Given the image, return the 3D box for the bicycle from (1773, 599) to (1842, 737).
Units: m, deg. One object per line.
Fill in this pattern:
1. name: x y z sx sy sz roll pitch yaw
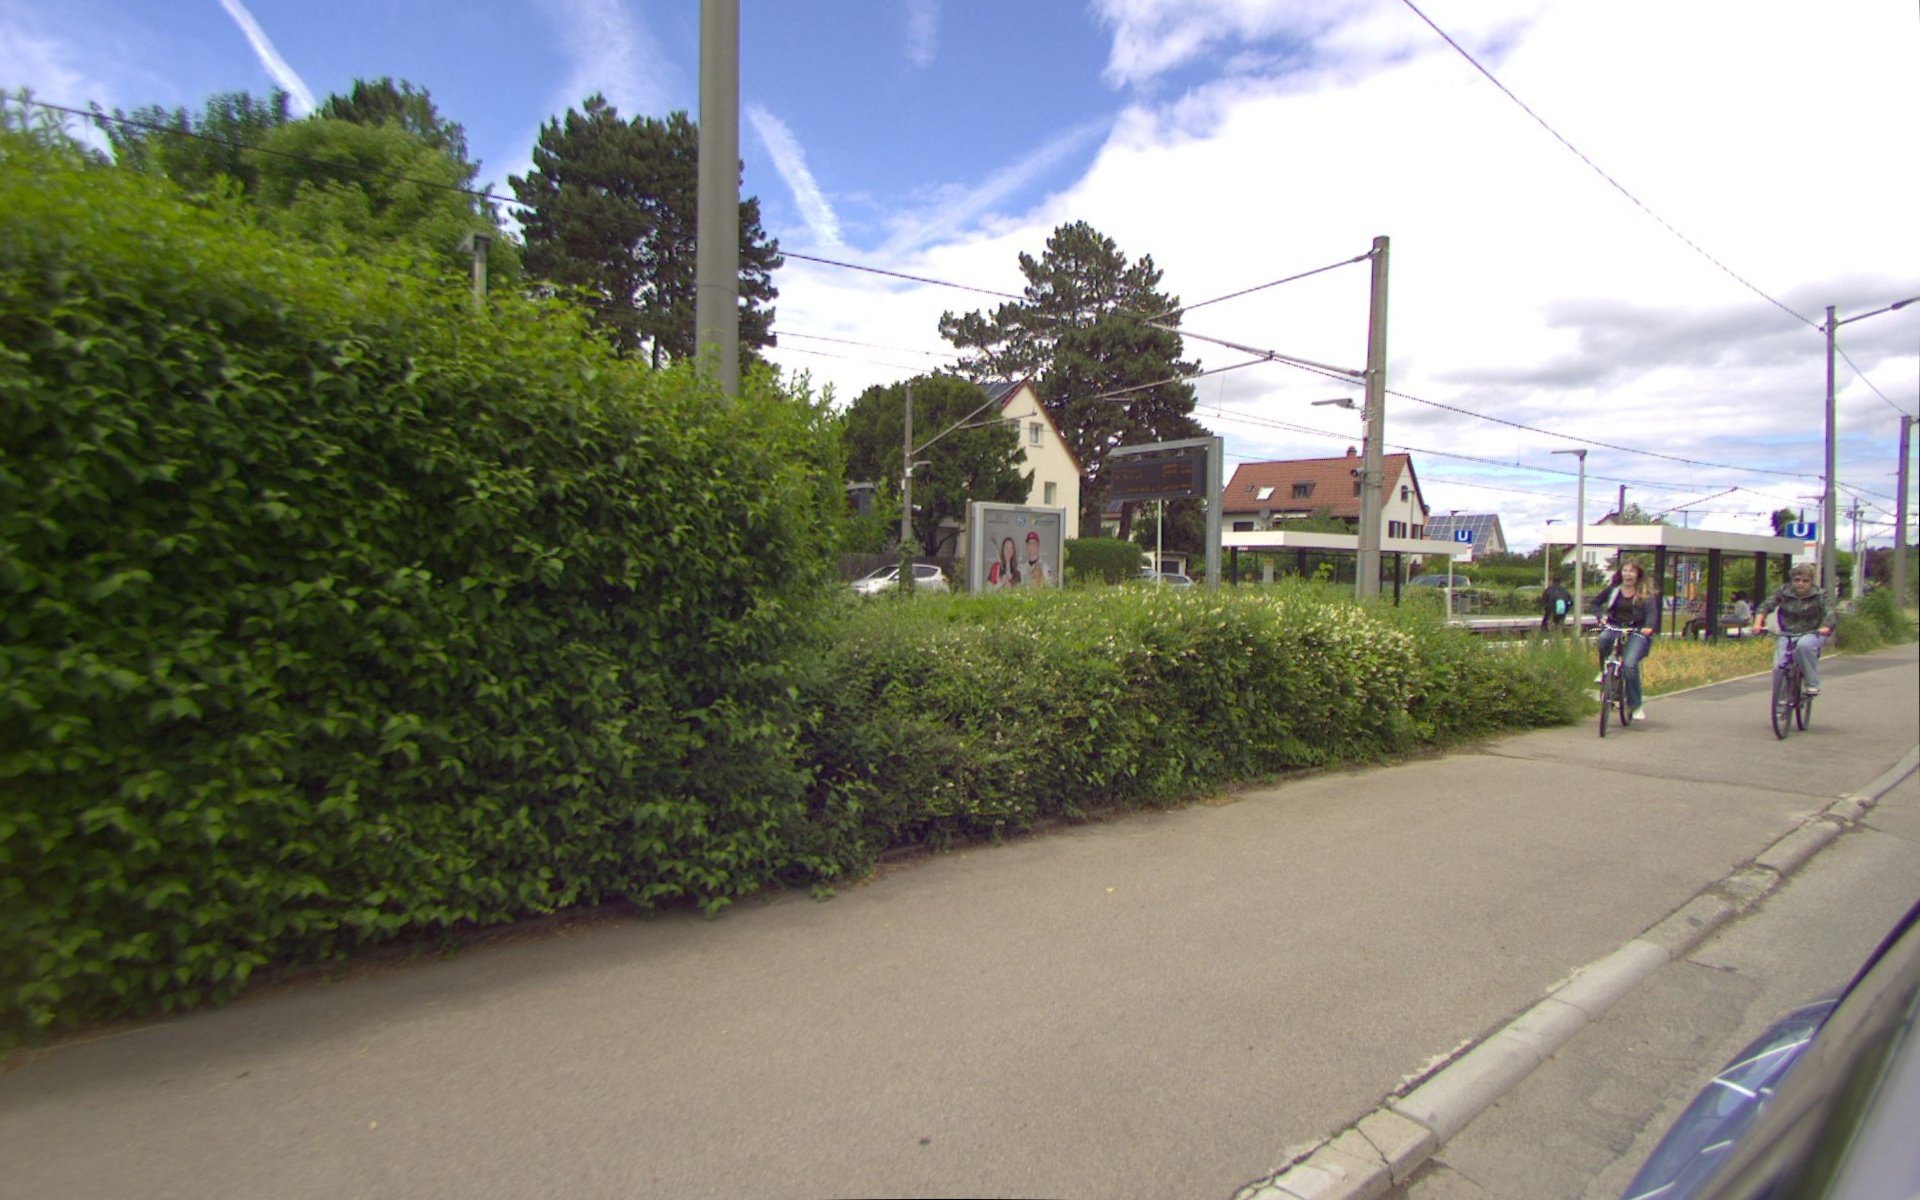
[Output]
1. bicycle: 8.996 0.656 10.714 0.450 1.301 2.173 0 0 43

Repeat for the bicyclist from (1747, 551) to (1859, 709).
1. bicyclist: 8.845 0.289 10.615 0.848 1.558 0.825 0 0 -45

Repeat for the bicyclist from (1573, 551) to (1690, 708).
1. bicyclist: 7.052 0.277 10.626 0.847 1.557 0.825 0 1 -43

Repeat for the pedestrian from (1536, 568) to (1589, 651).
1. pedestrian: 12.091 0.185 20.328 0.718 1.638 0.703 0 0 15

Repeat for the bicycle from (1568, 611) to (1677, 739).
1. bicycle: 6.963 0.729 10.590 2.171 1.163 0.450 -1 2 -43

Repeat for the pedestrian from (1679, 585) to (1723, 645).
1. pedestrian: 18.360 0.359 25.075 0.631 1.438 0.720 0 0 -38

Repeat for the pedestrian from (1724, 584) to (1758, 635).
1. pedestrian: 20.226 0.237 26.224 0.572 1.295 0.588 0 0 -40
